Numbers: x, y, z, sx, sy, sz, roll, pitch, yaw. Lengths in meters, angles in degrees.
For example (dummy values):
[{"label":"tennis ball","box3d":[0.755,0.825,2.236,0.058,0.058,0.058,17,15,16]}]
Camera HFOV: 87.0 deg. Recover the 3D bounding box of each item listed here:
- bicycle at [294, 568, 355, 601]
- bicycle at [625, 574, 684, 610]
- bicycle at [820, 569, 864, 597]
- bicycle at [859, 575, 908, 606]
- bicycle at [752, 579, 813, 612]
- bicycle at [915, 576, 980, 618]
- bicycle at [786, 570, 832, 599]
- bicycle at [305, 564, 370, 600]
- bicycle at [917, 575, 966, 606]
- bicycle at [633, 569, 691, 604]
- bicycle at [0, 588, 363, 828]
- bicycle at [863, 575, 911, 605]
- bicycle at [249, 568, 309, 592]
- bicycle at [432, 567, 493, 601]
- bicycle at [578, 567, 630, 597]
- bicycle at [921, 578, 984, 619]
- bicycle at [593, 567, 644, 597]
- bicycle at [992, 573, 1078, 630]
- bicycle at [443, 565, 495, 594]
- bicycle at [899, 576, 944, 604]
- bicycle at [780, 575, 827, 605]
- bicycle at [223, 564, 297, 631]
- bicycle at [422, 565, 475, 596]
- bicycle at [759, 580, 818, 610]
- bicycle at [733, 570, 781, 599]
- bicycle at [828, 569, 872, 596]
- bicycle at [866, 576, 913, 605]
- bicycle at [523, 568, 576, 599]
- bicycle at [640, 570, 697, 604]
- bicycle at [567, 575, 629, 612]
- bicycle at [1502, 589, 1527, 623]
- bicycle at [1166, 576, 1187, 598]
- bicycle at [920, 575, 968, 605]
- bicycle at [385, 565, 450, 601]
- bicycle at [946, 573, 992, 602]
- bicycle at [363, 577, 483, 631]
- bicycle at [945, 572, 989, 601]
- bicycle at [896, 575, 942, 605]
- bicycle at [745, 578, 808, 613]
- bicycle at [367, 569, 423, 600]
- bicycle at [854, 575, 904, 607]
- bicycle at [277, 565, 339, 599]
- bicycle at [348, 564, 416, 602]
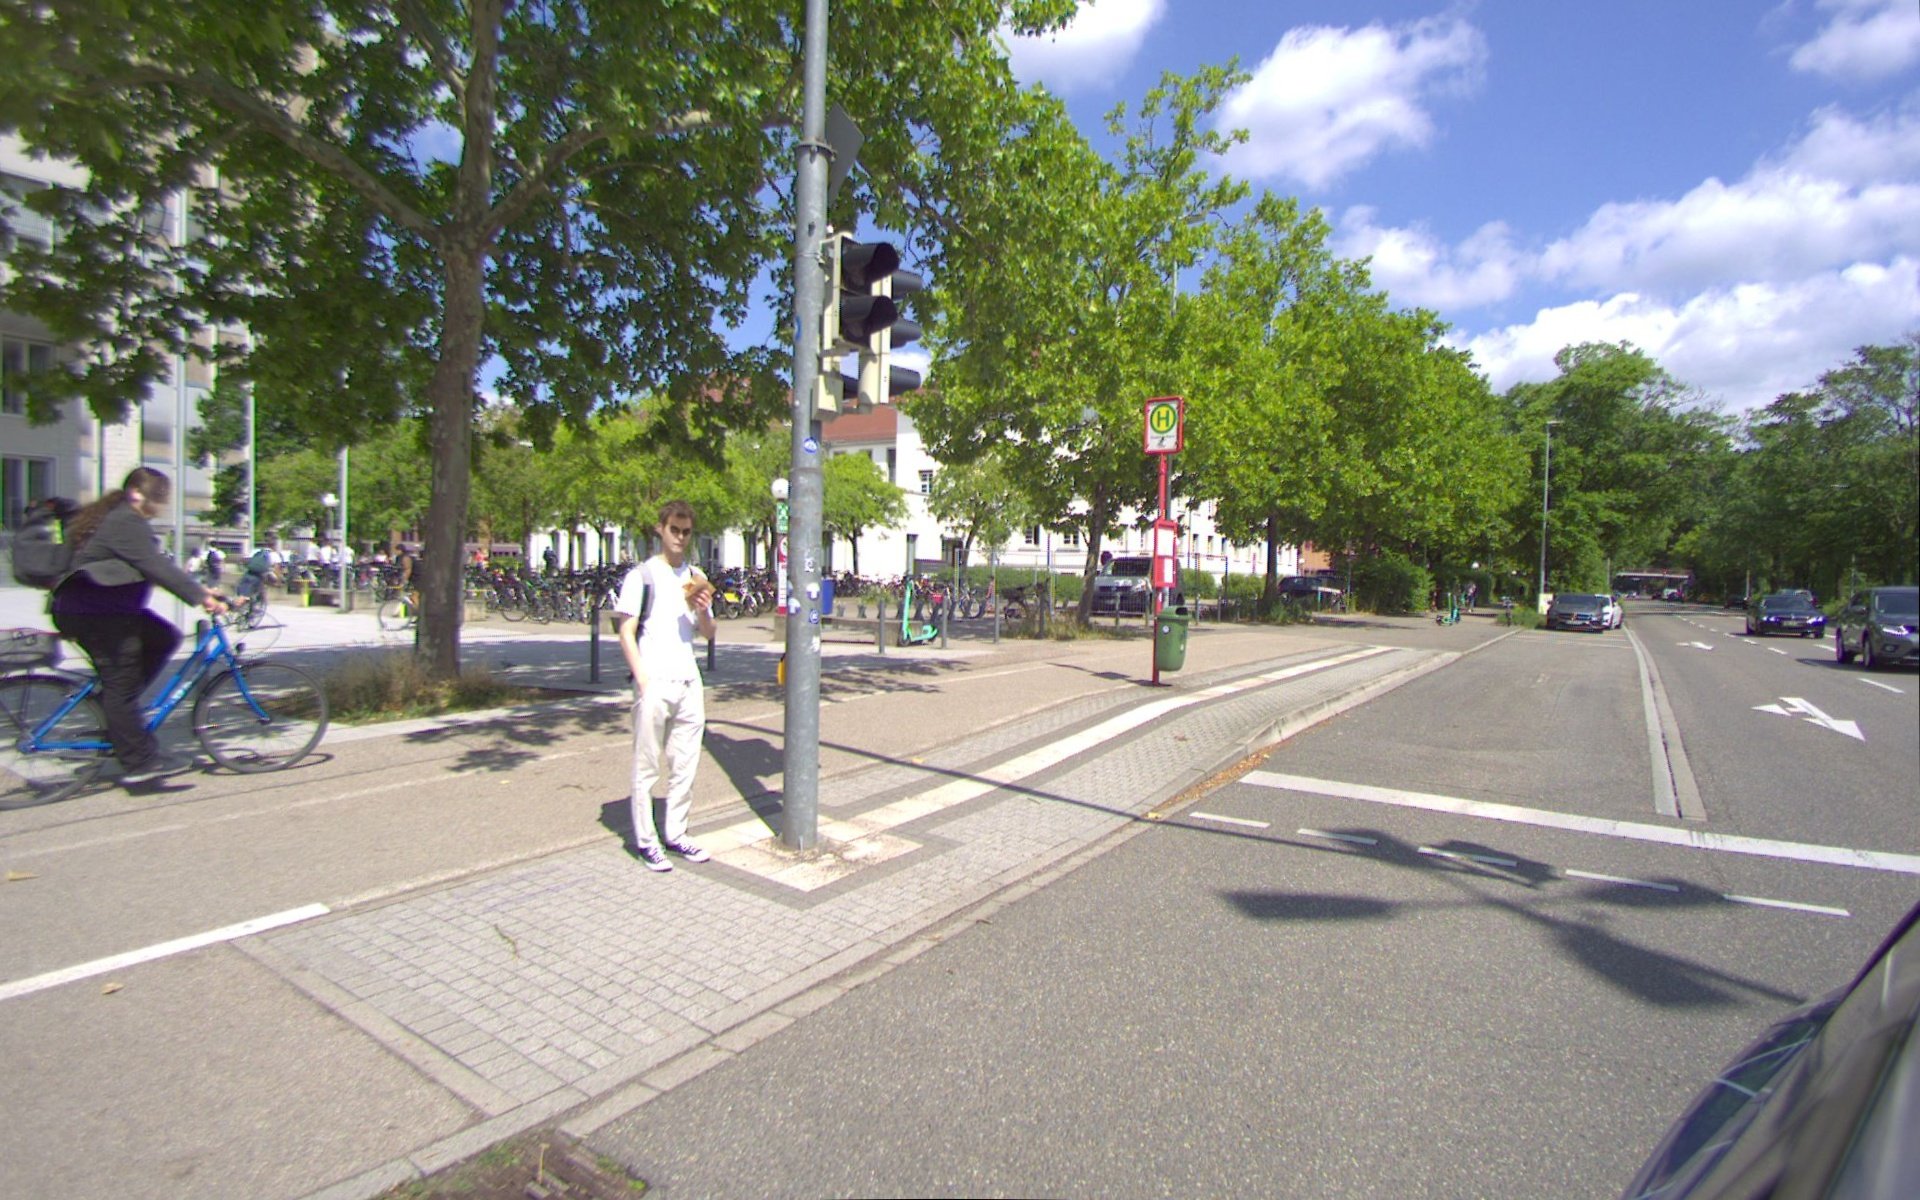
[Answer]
[{"label":"bicycle","box3d":[-21.930,-0.518,34.922,1.735,1.113,0.603,-1,0,3]},{"label":"bicycle","box3d":[-9.896,-0.261,32.792,1.735,1.113,0.603,-1,0,3]},{"label":"bicycle","box3d":[-4.872,-0.704,41.735,1.735,1.113,0.603,-1,0,3]},{"label":"bicycle","box3d":[-2.826,-0.345,37.270,1.735,1.113,0.603,-1,0,3]},{"label":"bicycle","box3d":[-5.414,-0.150,30.923,1.735,0.966,0.603,1,0,3]},{"label":"bicycle","box3d":[-0.331,-0.077,27.695,1.735,1.113,0.603,-1,0,3]},{"label":"bicycle","box3d":[-6.060,-0.623,40.654,1.735,1.113,0.603,-1,0,3]},{"label":"bicycle","box3d":[-19.693,-0.575,32.032,1.735,1.113,0.603,-1,0,3]},{"label":"bicycle","box3d":[-0.677,-0.361,36.910,1.735,1.113,0.603,-1,0,3]},{"label":"bicycle","box3d":[-9.844,-0.451,33.497,1.735,1.113,0.603,-1,0,3]},{"label":"bicycle","box3d":[-4.576,0.520,5.756,0.814,1.085,1.866,6,5,36]},{"label":"bicycle","box3d":[-2.739,-0.370,37.987,1.735,1.113,0.603,-1,0,3]},{"label":"bicycle","box3d":[-23.516,-0.685,34.954,0.514,0.802,1.756,2,2,20]},{"label":"bicycle","box3d":[-16.584,-0.538,33.731,1.735,1.113,0.603,-1,0,3]},{"label":"bicycle","box3d":[-13.364,-0.664,37.986,1.735,1.113,0.603,-1,0,3]},{"label":"bicycle","box3d":[-0.203,-0.053,28.386,1.735,1.113,0.603,-1,0,3]},{"label":"bicycle","box3d":[-13.090,-0.678,38.837,1.735,1.113,0.603,-1,0,3]},{"label":"bicycle","box3d":[1.666,0.005,22.254,0.797,1.198,1.999,0,1,44]},{"label":"bicycle","box3d":[-19.148,-0.805,39.457,1.735,1.113,0.603,-1,0,3]},{"label":"bicycle","box3d":[-1.522,-0.393,39.874,1.735,1.113,0.592,-1,0,3]},{"label":"bicycle","box3d":[-6.148,-0.393,39.705,1.735,1.113,0.603,-1,0,3]},{"label":"bicycle","box3d":[-14.361,-0.067,20.812,0.648,1.313,1.878,-1,1,-15]},{"label":"bicycle","box3d":[-19.306,-0.731,38.206,1.735,1.113,0.603,-1,0,3]},{"label":"bicycle","box3d":[-5.377,-0.156,31.730,1.735,0.879,0.484,1,0,3]},{"label":"bicycle","box3d":[-7.984,-0.616,39.847,1.735,1.113,0.603,-1,0,3]},{"label":"bicycle","box3d":[-4.610,-0.727,42.401,1.735,1.113,0.603,-1,0,3]},{"label":"bicycle","box3d":[-2.684,-0.366,38.692,1.735,1.113,0.603,-1,0,3]},{"label":"bicycle","box3d":[-15.129,-0.618,37.299,1.735,1.113,0.603,-1,0,3]},{"label":"bicycle","box3d":[-9.821,-0.432,34.150,1.735,1.113,0.603,-1,0,3]},{"label":"bicycle","box3d":[-11.247,-0.201,31.476,1.735,1.113,0.603,-1,0,3]},{"label":"bicycle","box3d":[20.721,0.203,37.802,0.635,1.205,2.094,3,2,33]},{"label":"bicycle","box3d":[11.431,-0.700,53.411,0.602,1.151,1.573,3,2,28]},{"label":"bicycle","box3d":[-0.589,-0.376,37.956,1.735,1.113,0.603,-1,0,3]},{"label":"bicycle","box3d":[-16.965,-0.523,31.648,1.735,1.113,0.603,-1,0,3]},{"label":"bicycle","box3d":[0.348,-0.474,39.006,1.735,1.113,0.603,-1,0,3]},{"label":"bicycle","box3d":[-11.537,0.060,21.820,2.109,1.092,0.906,-1,2,-14]},{"label":"bicycle","box3d":[0.277,-0.536,40.310,1.735,1.113,0.603,-1,0,3]},{"label":"bicycle","box3d":[-1.589,-0.384,39.259,1.735,1.113,0.516,-1,0,3]},{"label":"bicycle","box3d":[-5.450,-0.139,30.118,1.735,0.966,0.603,1,0,3]},{"label":"bicycle","box3d":[-20.752,-0.561,37.208,1.735,1.113,0.603,-1,0,3]},{"label":"bicycle","box3d":[-2.920,-0.332,36.420,1.735,1.113,0.603,-1,0,3]},{"label":"bicycle","box3d":[-22.020,-0.602,34.204,1.735,1.113,0.603,-1,0,3]},{"label":"bicycle","box3d":[-17.540,-0.514,30.734,1.735,1.113,0.603,-1,0,3]}]
